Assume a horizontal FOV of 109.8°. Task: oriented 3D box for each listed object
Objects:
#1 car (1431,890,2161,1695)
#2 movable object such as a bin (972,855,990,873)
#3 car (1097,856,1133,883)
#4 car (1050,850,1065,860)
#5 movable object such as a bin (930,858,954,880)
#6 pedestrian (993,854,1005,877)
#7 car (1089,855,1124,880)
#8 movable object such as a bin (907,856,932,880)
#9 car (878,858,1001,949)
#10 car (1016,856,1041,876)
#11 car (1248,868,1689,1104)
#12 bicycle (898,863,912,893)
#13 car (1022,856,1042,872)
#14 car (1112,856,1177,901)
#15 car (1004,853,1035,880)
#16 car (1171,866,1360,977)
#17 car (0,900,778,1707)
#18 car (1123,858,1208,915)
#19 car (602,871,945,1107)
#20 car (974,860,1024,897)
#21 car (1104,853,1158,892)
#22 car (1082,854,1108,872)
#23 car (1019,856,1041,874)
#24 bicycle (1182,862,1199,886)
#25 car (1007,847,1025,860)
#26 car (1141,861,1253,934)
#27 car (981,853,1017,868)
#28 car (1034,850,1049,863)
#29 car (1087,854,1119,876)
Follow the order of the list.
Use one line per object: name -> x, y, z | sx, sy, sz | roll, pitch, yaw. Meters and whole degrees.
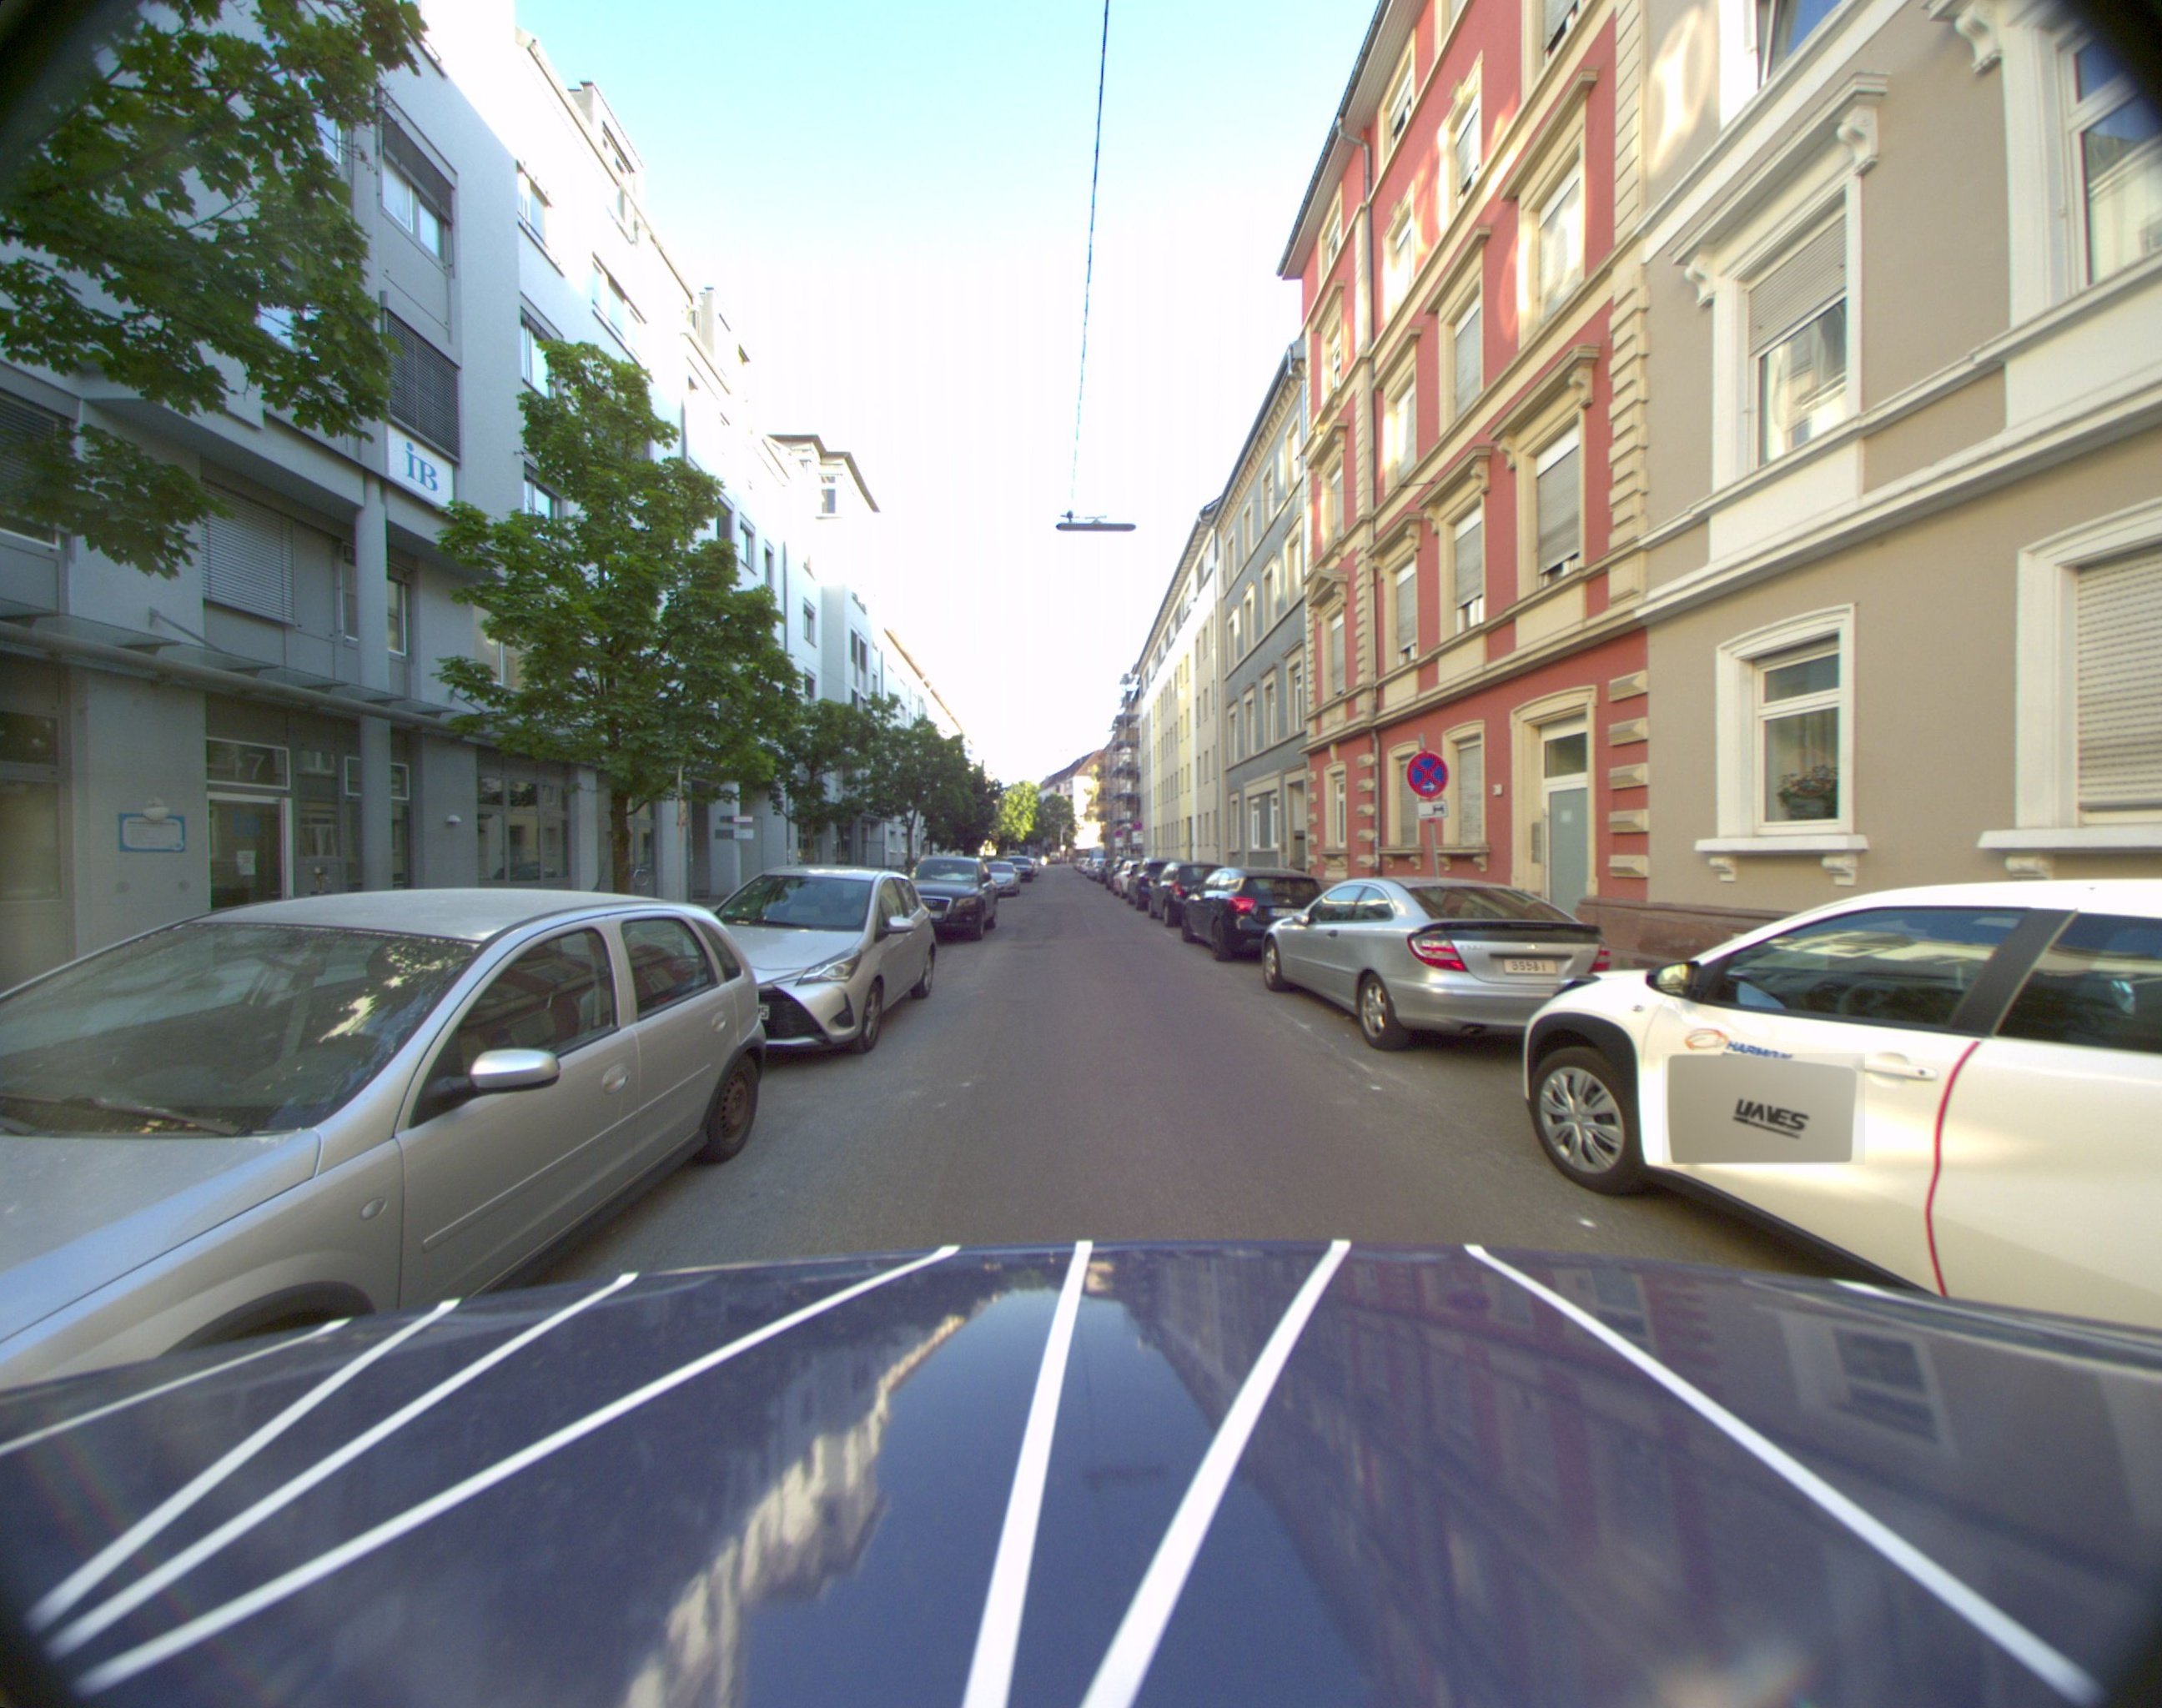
car -> 3.164, 0.985, 2.586 | 1.925, 1.498, 4.267 | 1, 0, 0
movable object such as a bin -> -7.903, 0.782, 60.059 | 1.288, 1.428, 1.223 | 1, 0, -2
car -> 1.945, 0.859, 44.903 | 1.784, 1.479, 4.419 | 1, 0, -2
car -> -4.085, 0.195, 132.274 | 2.081, 1.760, 4.214 | 1, 0, -8
movable object such as a bin -> -8.325, 0.901, 45.599 | 1.265, 1.313, 1.138 | 1, 0, -2
pedestrian -> -5.439, 0.768, 50.279 | 0.802, 1.455, 0.870 | 1, 1, -7
car -> 1.642, 0.844, 49.751 | 1.928, 1.479, 4.616 | 1, 0, -2
movable object such as a bin -> -9.623, 0.838, 45.304 | 1.265, 1.428, 1.138 | 1, 1, -2
car -> -2.833, 0.919, 16.210 | 1.890, 1.613, 4.433 | 1, 0, -2
car -> -4.125, 0.932, 59.952 | 1.680, 1.474, 3.652 | 1, 0, 1
car -> 3.165, 0.959, 7.387 | 1.926, 1.551, 4.266 | 1, 0, -3
bicycle -> -7.124, 0.970, 30.845 | 0.522, 1.161, 1.738 | 1, 0, -12
car -> -4.555, 0.906, 71.082 | 1.681, 1.411, 4.134 | 1, 0, -2
car -> 2.367, 0.897, 29.469 | 1.926, 1.551, 4.266 | 1, 0, -3
car -> -3.917, 0.792, 49.222 | 1.876, 1.626, 4.720 | 1, 0, -3
car -> 2.847, 0.986, 12.781 | 1.926, 1.475, 4.266 | 1, 0, -3
car -> -2.605, 1.019, 2.472 | 1.680, 1.467, 3.729 | 1, 0, 1
car -> 2.508, 0.923, 23.569 | 1.926, 1.551, 4.266 | 1, 0, -3
car -> -2.501, 0.992, 7.278 | 1.681, 1.516, 3.970 | 1, 0, 0
car -> -3.450, 1.003, 32.679 | 1.768, 1.420, 4.344 | 1, 0, -2
car -> 2.228, 0.802, 34.846 | 1.926, 1.654, 4.468 | 1, 0, -3
car -> 1.237, 0.809, 69.564 | 1.999, 1.496, 3.998 | 1, 0, -3
car -> -4.295, 0.919, 64.898 | 1.681, 1.411, 4.135 | 1, 0, -2
bicycle -> 5.204, 0.947, 36.152 | 0.451, 1.068, 1.751 | -2, 0, -2
car -> -12.029, -0.107, 140.762 | 2.163, 2.270, 6.199 | 1, 0, -15
car -> 2.707, 0.969, 18.754 | 1.906, 1.551, 4.239 | 1, 0, -3
car -> -9.487, 0.744, 88.372 | 3.998, 1.556, 1.999 | 1, 0, -4
car -> -6.407, 0.383, 123.267 | 1.998, 2.002, 4.000 | -2, 0, 0
car -> 1.560, 0.782, 55.119 | 1.928, 1.479, 4.615 | 1, 0, -3
